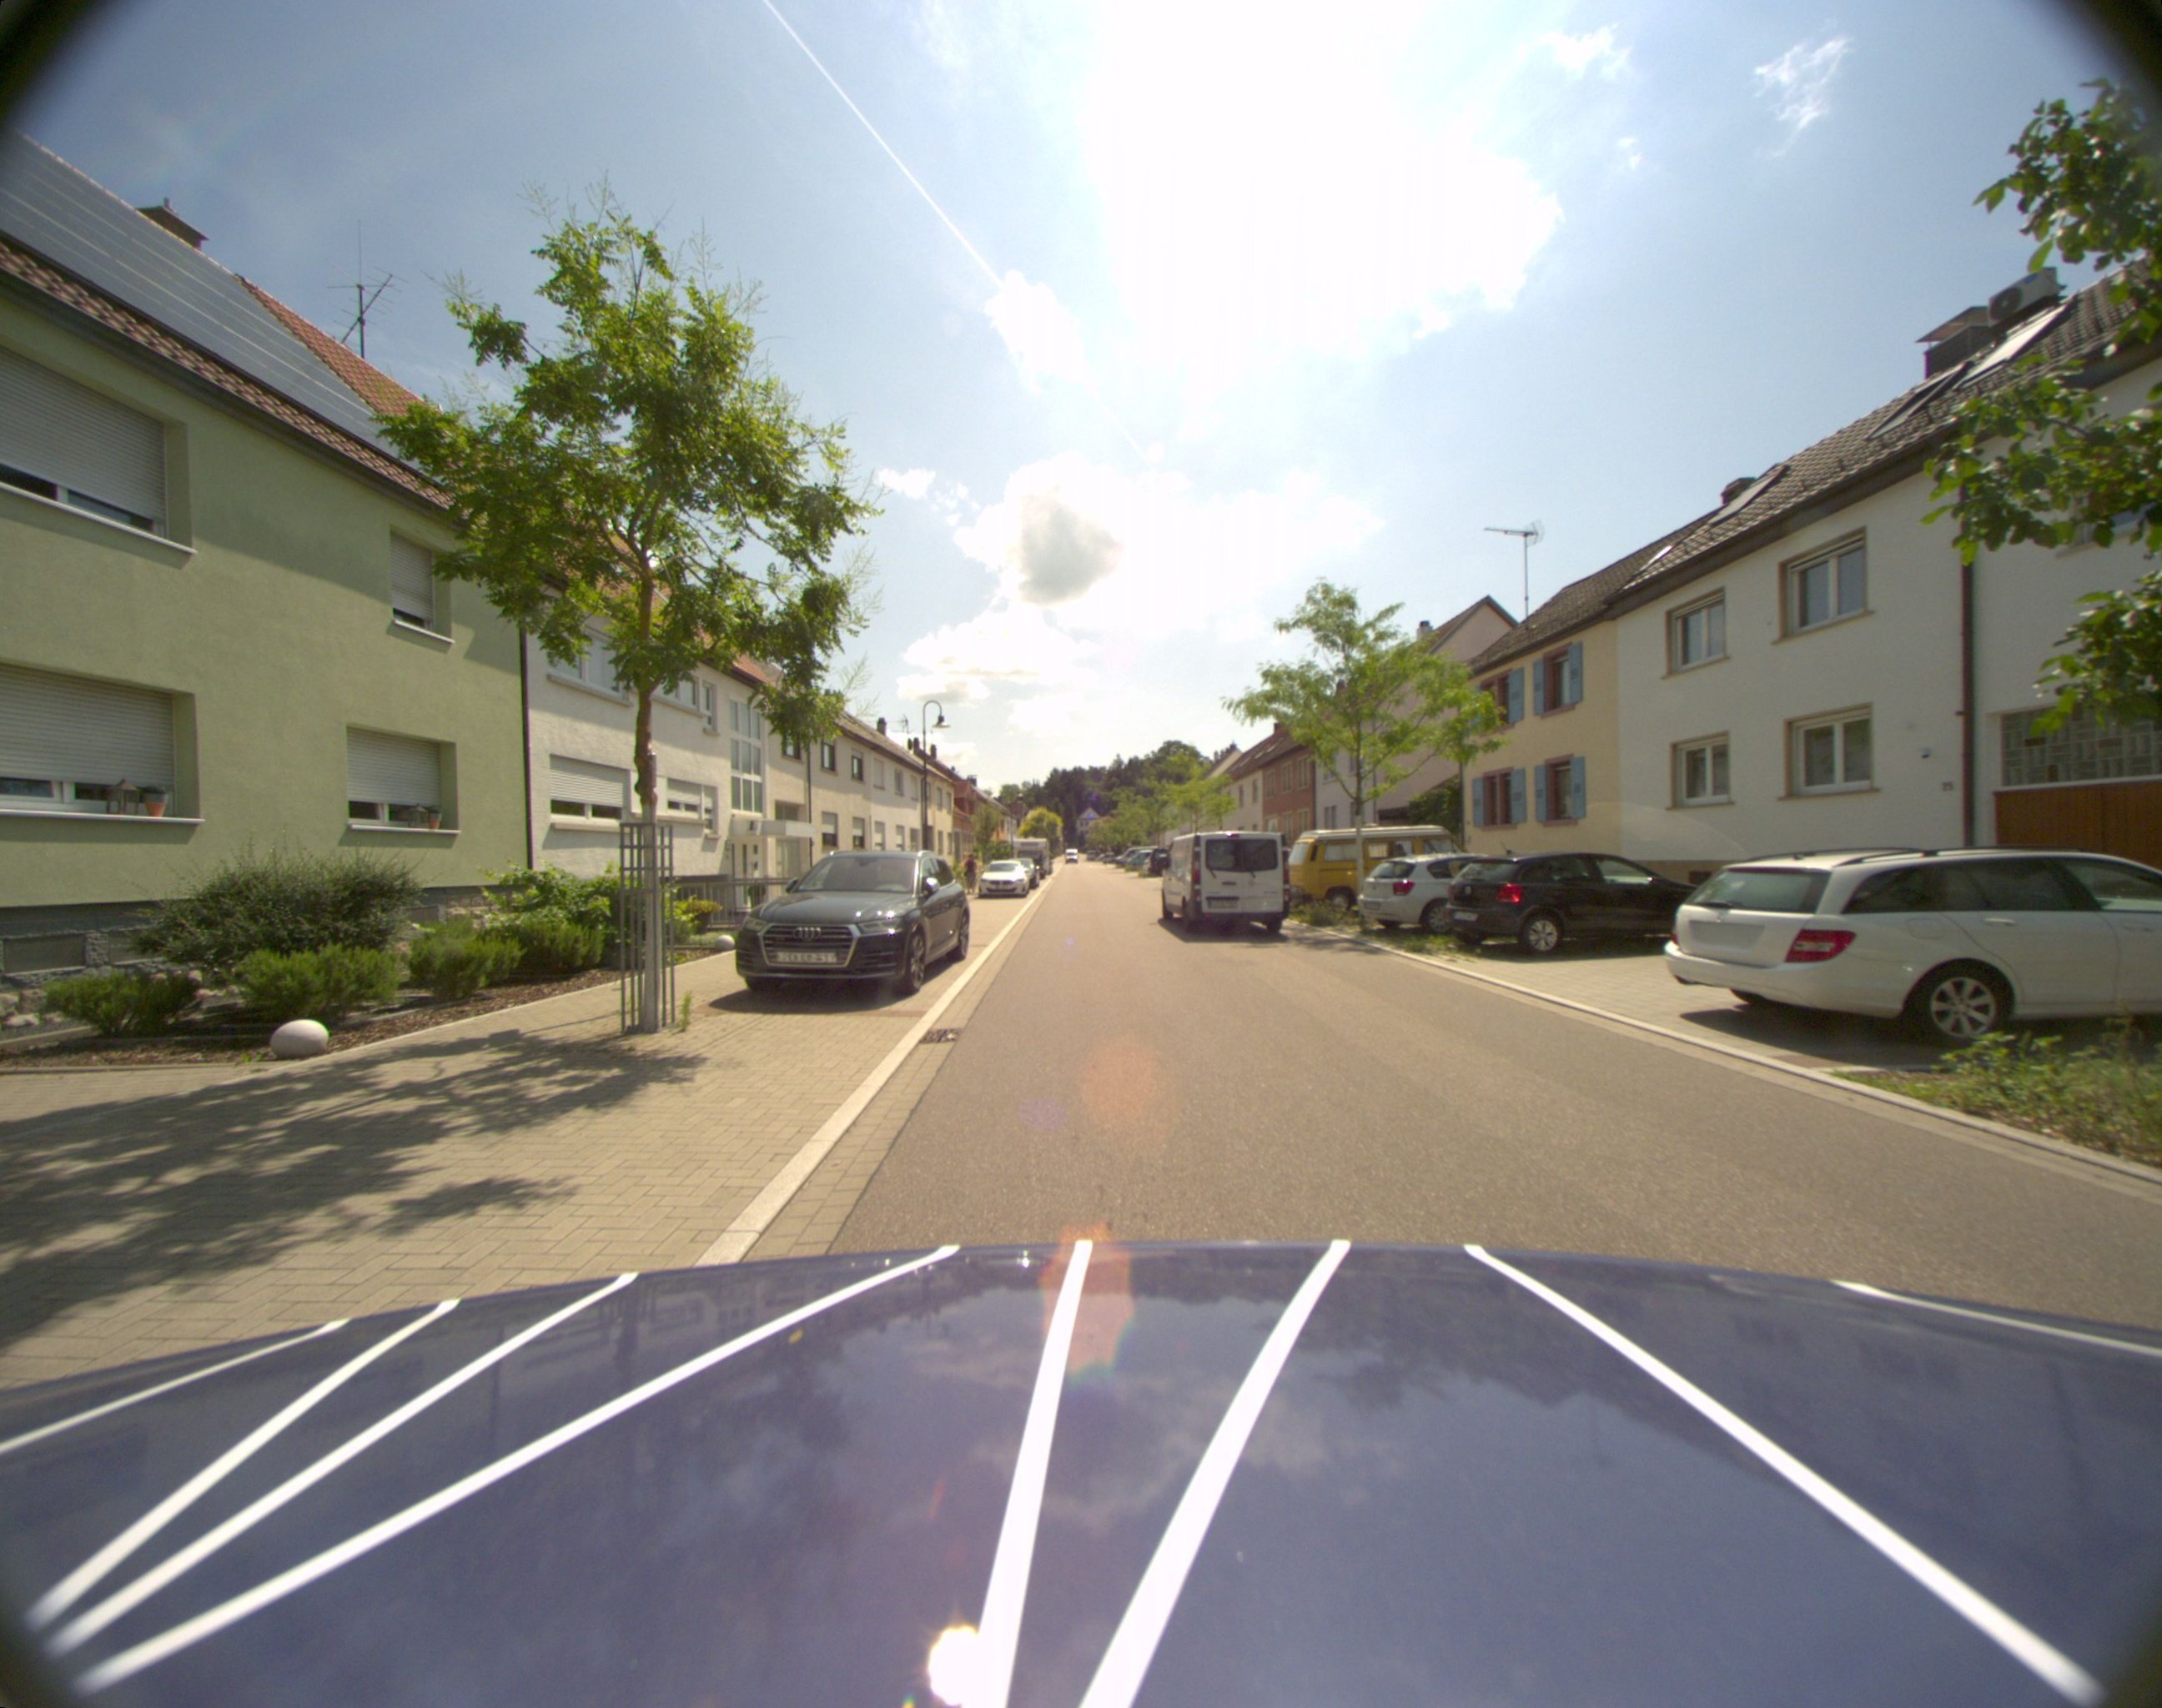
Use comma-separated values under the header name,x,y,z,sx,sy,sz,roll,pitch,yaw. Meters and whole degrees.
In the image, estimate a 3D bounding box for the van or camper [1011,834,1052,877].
name,x,y,z,sx,sy,sz,roll,pitch,yaw
van or camper,-3.352,0.116,52.648,2.479,2.793,5.789,0,0,-1

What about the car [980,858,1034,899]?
name,x,y,z,sx,sy,sz,roll,pitch,yaw
car,-2.886,0.920,30.338,1.837,1.457,4.518,-1,0,-2

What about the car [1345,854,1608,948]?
name,x,y,z,sx,sy,sz,roll,pitch,yaw
car,7.297,0.802,14.196,4.085,1.459,1.752,-2,1,-9

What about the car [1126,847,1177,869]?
name,x,y,z,sx,sy,sz,roll,pitch,yaw
car,6.755,0.346,73.503,4.689,1.896,2.000,-3,1,0

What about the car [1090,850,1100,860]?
name,x,y,z,sx,sy,sz,roll,pitch,yaw
car,3.101,0.198,167.243,1.999,1.968,3.999,-1,1,-1

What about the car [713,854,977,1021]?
name,x,y,z,sx,sy,sz,roll,pitch,yaw
car,-2.663,0.848,9.797,1.868,1.626,4.447,1,0,2

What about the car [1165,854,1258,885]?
name,x,y,z,sx,sy,sz,roll,pitch,yaw
car,6.799,0.779,39.993,4.536,1.417,1.795,-2,1,-1

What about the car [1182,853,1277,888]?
name,x,y,z,sx,sy,sz,roll,pitch,yaw
car,6.979,0.753,36.009,4.065,1.469,1.775,-2,1,-3

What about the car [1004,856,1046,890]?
name,x,y,z,sx,sy,sz,roll,pitch,yaw
car,-2.718,0.890,37.557,1.771,1.521,4.007,-1,0,0

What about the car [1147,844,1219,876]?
name,x,y,z,sx,sy,sz,roll,pitch,yaw
car,6.982,0.381,52.312,4.624,1.985,1.953,-2,1,1

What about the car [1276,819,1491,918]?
name,x,y,z,sx,sy,sz,roll,pitch,yaw
car,7.383,0.328,18.856,4.520,2.164,1.925,-2,1,0

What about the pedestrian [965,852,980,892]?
name,x,y,z,sx,sy,sz,roll,pitch,yaw
pedestrian,-4.737,0.782,33.165,0.559,1.739,0.673,-1,1,0

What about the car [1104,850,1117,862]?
name,x,y,z,sx,sy,sz,roll,pitch,yaw
car,4.812,0.321,123.505,1.844,1.737,4.687,-3,-1,1

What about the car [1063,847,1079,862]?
name,x,y,z,sx,sy,sz,roll,pitch,yaw
car,-1.760,0.061,128.673,2.489,2.306,5.598,-3,1,-1

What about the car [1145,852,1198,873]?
name,x,y,z,sx,sy,sz,roll,pitch,yaw
car,7.059,0.653,59.525,3.925,1.480,1.772,-2,1,1

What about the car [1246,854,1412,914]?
name,x,y,z,sx,sy,sz,roll,pitch,yaw
car,6.854,0.797,21.266,4.020,1.451,1.755,-2,1,0

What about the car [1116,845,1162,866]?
name,x,y,z,sx,sy,sz,roll,pitch,yaw
car,6.850,0.165,89.840,5.180,2.275,2.156,-3,1,-2

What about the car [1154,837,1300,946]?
name,x,y,z,sx,sy,sz,roll,pitch,yaw
car,2.867,0.640,16.097,2.028,1.939,4.897,-1,1,-1

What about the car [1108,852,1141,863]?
name,x,y,z,sx,sy,sz,roll,pitch,yaw
car,6.379,0.493,111.630,4.599,1.508,1.901,-2,0,-1

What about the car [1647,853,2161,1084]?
name,x,y,z,sx,sy,sz,roll,pitch,yaw
car,7.473,0.813,6.220,4.305,1.459,1.774,-2,1,1

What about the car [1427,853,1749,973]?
name,x,y,z,sx,sy,sz,roll,pitch,yaw
car,7.479,0.799,11.367,3.891,1.459,1.657,-2,1,-9
